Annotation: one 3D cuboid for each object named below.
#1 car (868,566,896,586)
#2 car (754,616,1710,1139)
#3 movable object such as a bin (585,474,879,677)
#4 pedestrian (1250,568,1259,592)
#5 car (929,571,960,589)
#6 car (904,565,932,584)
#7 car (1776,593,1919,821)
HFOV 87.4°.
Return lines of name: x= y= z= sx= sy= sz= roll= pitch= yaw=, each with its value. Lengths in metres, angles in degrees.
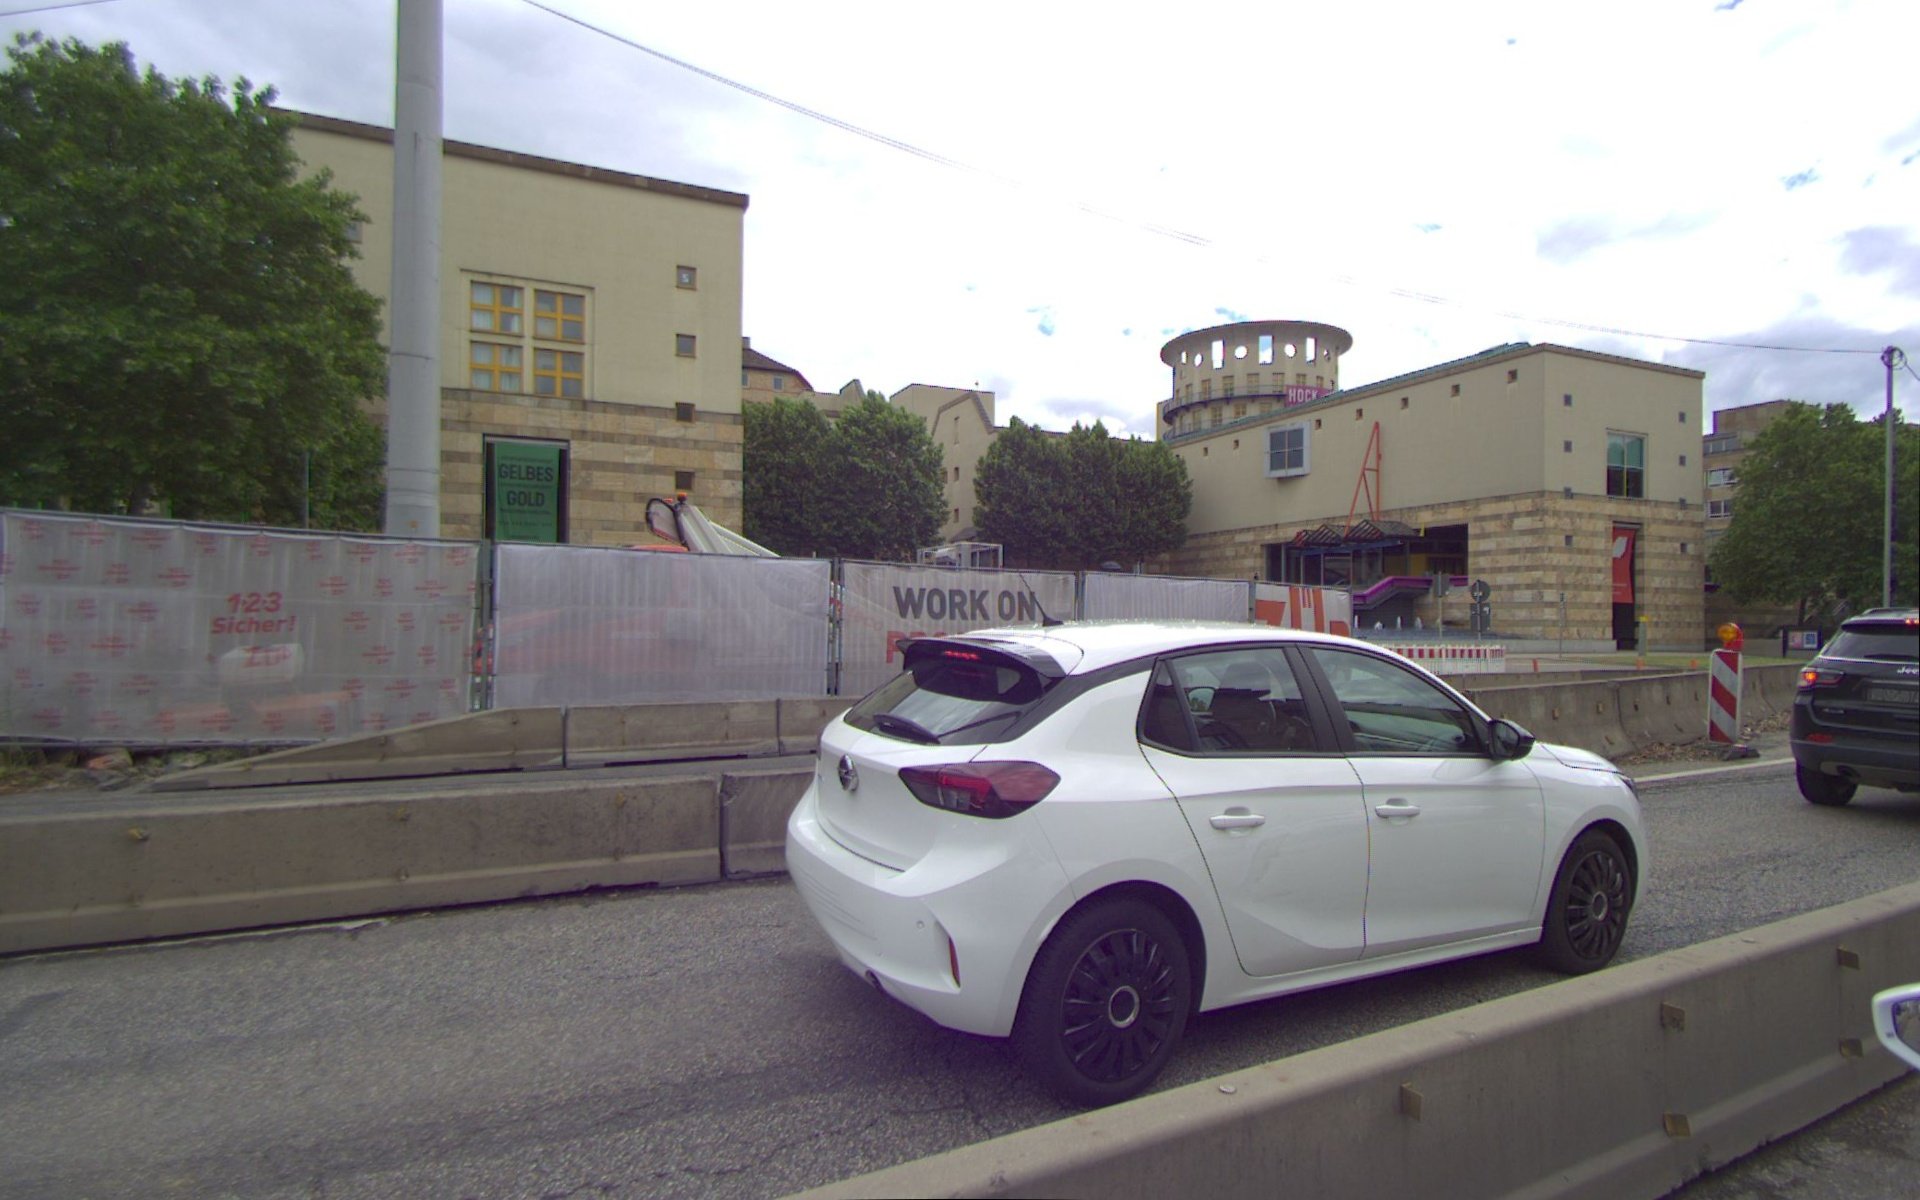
car: x=-7.304 y=-2.197 z=93.426 sx=1.586 sy=1.822 sz=3.788 roll=1 pitch=1 yaw=-21
car: x=1.271 y=0.783 z=4.321 sx=3.888 sy=1.313 sz=1.718 roll=2 pitch=0 yaw=-30
movable object such as a bin: x=-2.794 y=-0.233 z=12.424 sx=3.253 sy=2.214 sz=1.515 roll=1 pitch=-1 yaw=-30
pedestrian: x=25.297 y=-1.707 z=86.227 sx=0.592 sy=2.041 sz=0.410 roll=1 pitch=1 yaw=-25
car: x=-1.509 y=-1.929 z=96.464 sx=1.588 sy=1.557 sz=3.784 roll=2 pitch=1 yaw=-24
car: x=-4.309 y=-2.623 z=102.827 sx=1.588 sy=1.822 sz=3.784 roll=2 pitch=1 yaw=-24
car: x=8.703 y=0.828 z=8.251 sx=3.998 sy=1.642 sz=1.768 roll=2 pitch=0 yaw=-30
